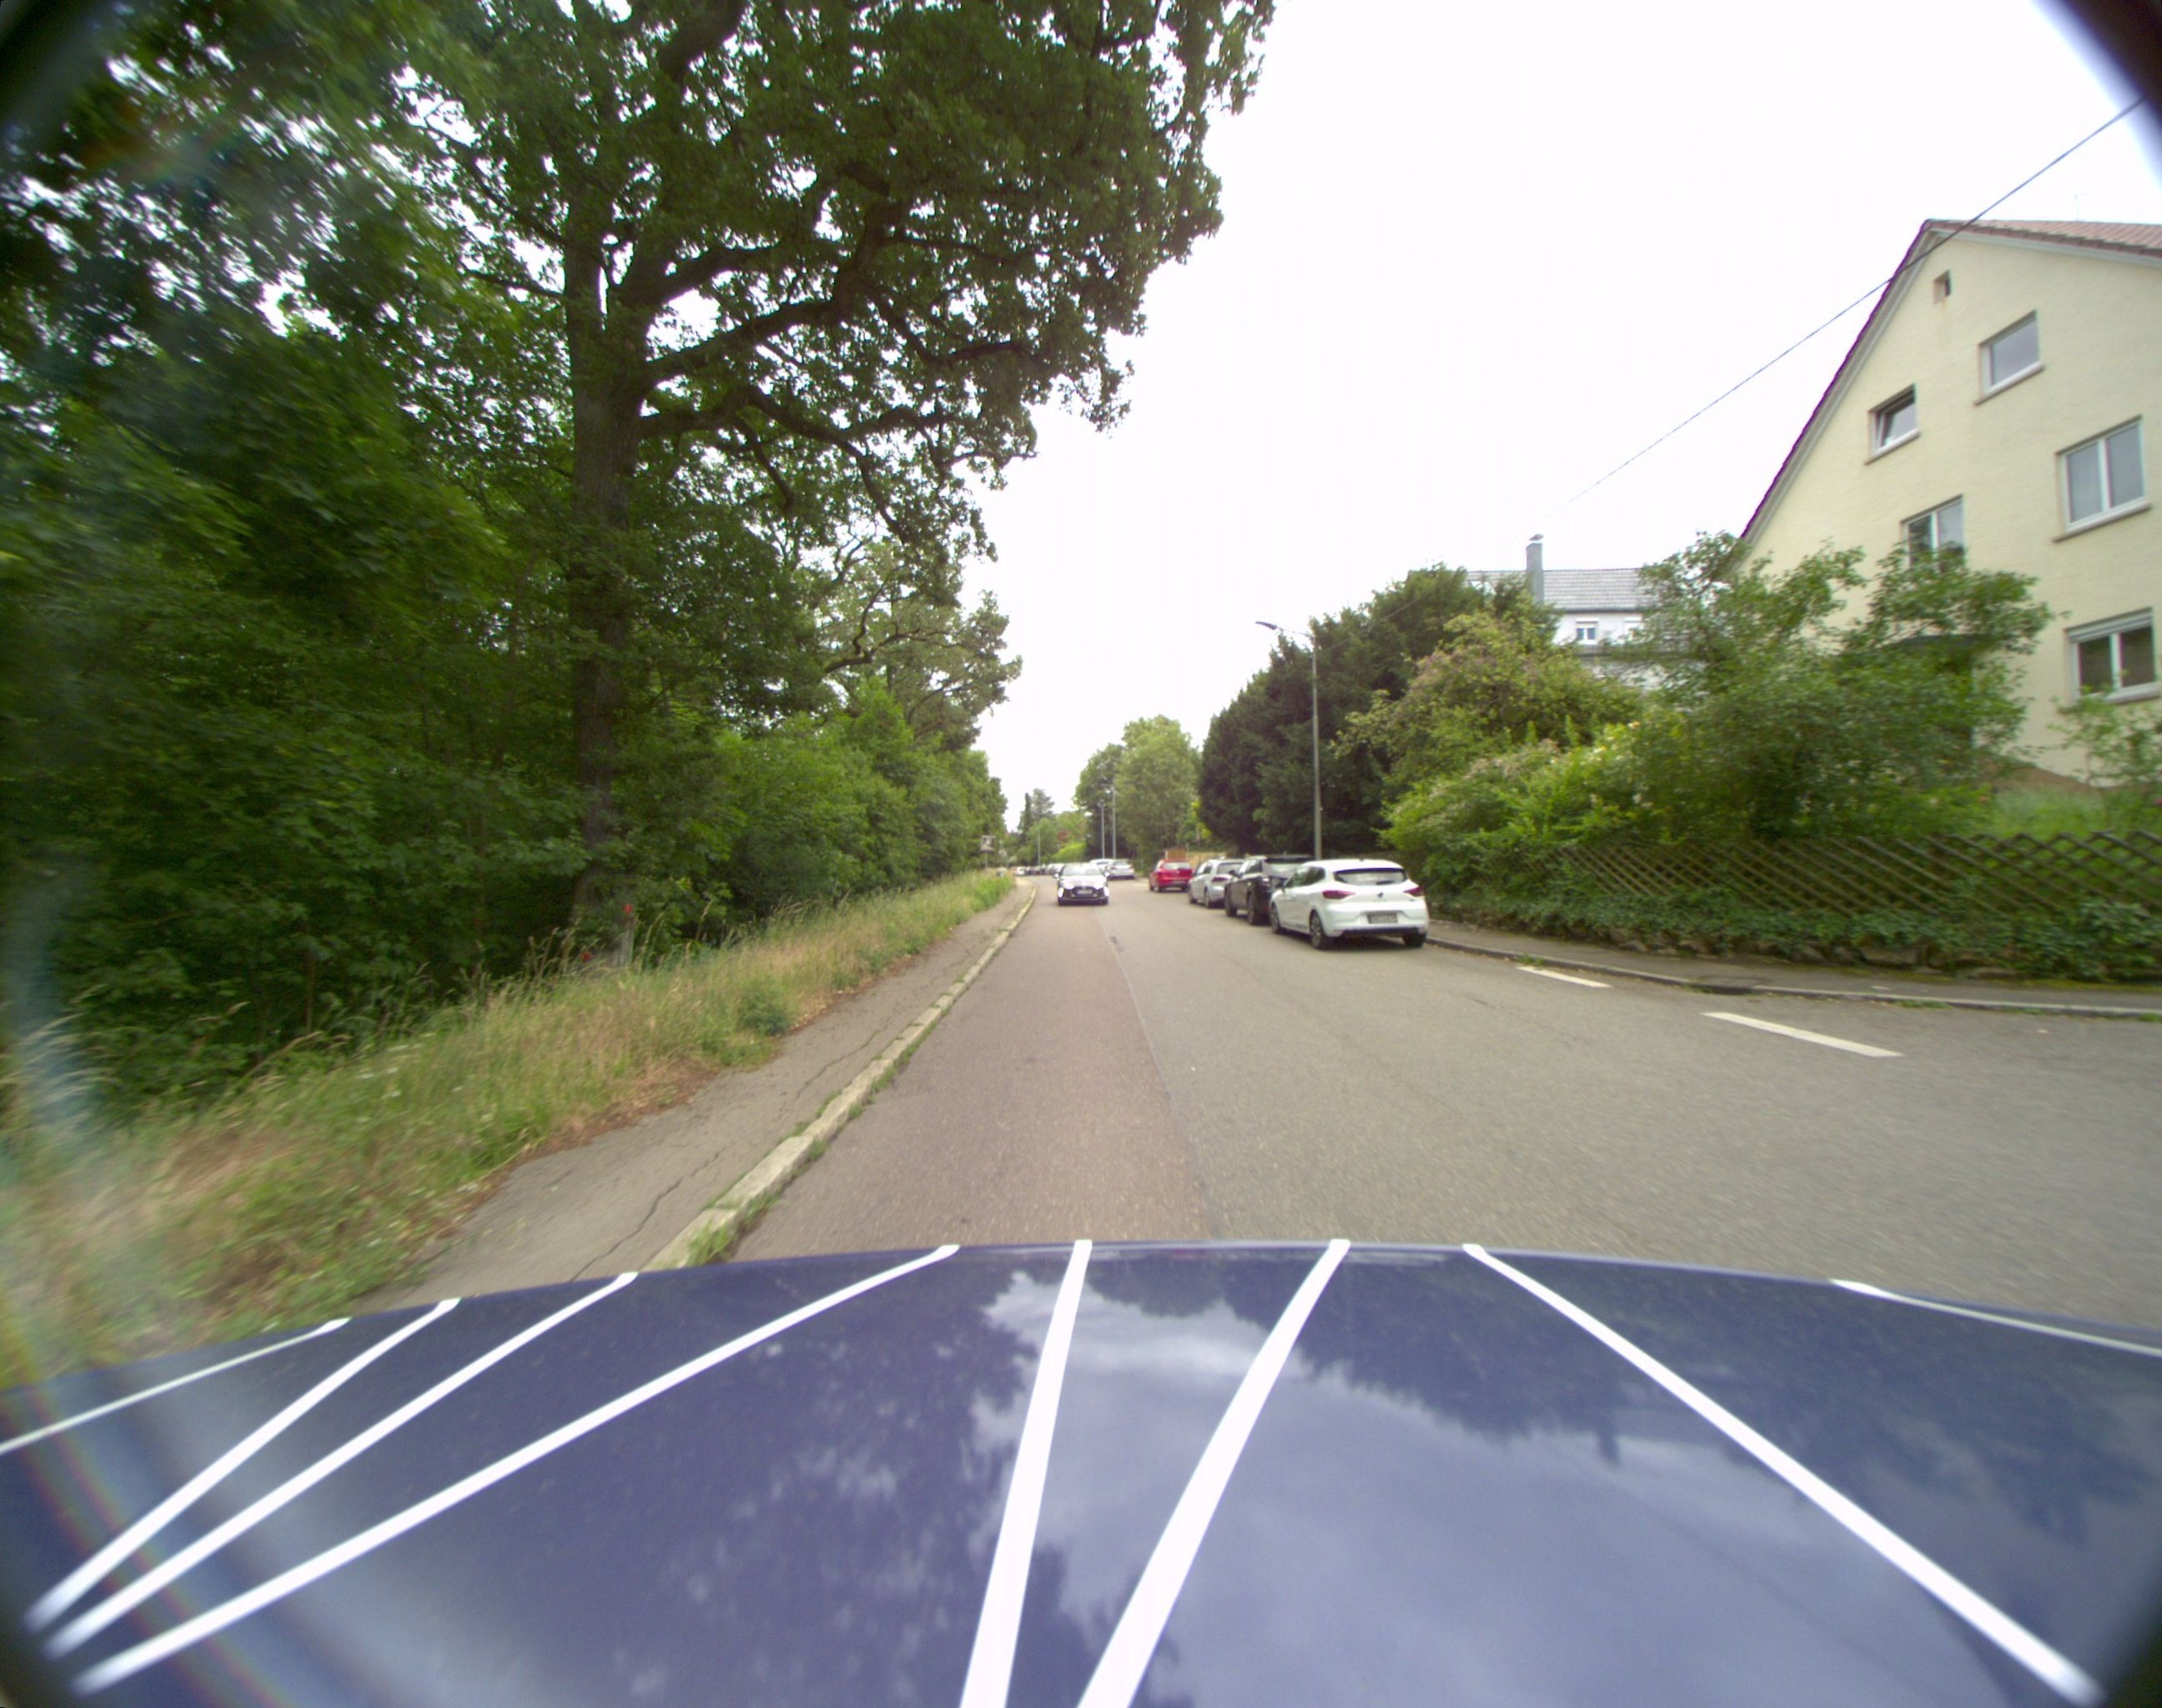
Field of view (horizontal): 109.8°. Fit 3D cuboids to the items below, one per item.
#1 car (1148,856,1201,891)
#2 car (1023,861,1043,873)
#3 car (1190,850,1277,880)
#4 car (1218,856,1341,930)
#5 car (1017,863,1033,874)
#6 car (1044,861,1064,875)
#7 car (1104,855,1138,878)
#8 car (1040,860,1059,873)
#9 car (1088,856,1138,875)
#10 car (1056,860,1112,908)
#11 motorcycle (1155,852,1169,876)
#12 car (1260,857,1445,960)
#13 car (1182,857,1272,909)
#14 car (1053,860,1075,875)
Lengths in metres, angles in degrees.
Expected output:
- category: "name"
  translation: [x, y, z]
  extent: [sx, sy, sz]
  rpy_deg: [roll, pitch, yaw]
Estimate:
- category: "car"
  translation: [4.118, 0.831, 33.898]
  extent: [1.741, 1.431, 3.787]
  rpy_deg: [-2, 0, -2]
- category: "car"
  translation: [-7.415, 1.986, 117.252]
  extent: [2.001, 1.678, 4.704]
  rpy_deg: [-2, 0, -17]
- category: "car"
  translation: [8.936, 0.644, 44.767]
  extent: [4.617, 1.378, 1.890]
  rpy_deg: [-4, -1, -1]
- category: "car"
  translation: [4.510, 0.824, 17.922]
  extent: [1.788, 1.491, 4.014]
  rpy_deg: [-2, 0, 0]
- category: "car"
  translation: [-9.270, 2.429, 124.947]
  extent: [1.801, 1.678, 3.495]
  rpy_deg: [-2, 0, -18]
- category: "car"
  translation: [-3.556, 1.794, 100.012]
  extent: [2.000, 1.678, 4.706]
  rpy_deg: [-2, 0, -10]
- category: "car"
  translation: [2.761, 0.864, 53.380]
  extent: [1.765, 1.441, 4.042]
  rpy_deg: [-2, 0, -6]
- category: "car"
  translation: [-4.452, 1.757, 105.683]
  extent: [2.000, 1.678, 4.706]
  rpy_deg: [-2, 0, -10]
- category: "car"
  translation: [3.098, 1.097, 73.957]
  extent: [4.708, 1.678, 1.999]
  rpy_deg: [-2, 0, -3]
- category: "car"
  translation: [0.080, 0.984, 26.816]
  extent: [1.788, 1.491, 4.014]
  rpy_deg: [-2, 0, 0]
- category: "motorcycle"
  translation: [5.460, 0.701, 51.159]
  extent: [0.484, 1.573, 1.912]
  rpy_deg: [-2, 0, -6]
- category: "car"
  translation: [4.574, 0.830, 13.467]
  extent: [1.788, 1.491, 4.014]
  rpy_deg: [-2, 0, 0]
- category: "car"
  translation: [4.428, 0.840, 23.654]
  extent: [1.788, 1.431, 4.323]
  rpy_deg: [-2, 0, -2]
- category: "car"
  translation: [-2.067, 1.643, 91.349]
  extent: [2.000, 1.678, 4.707]
  rpy_deg: [-2, 0, -9]
